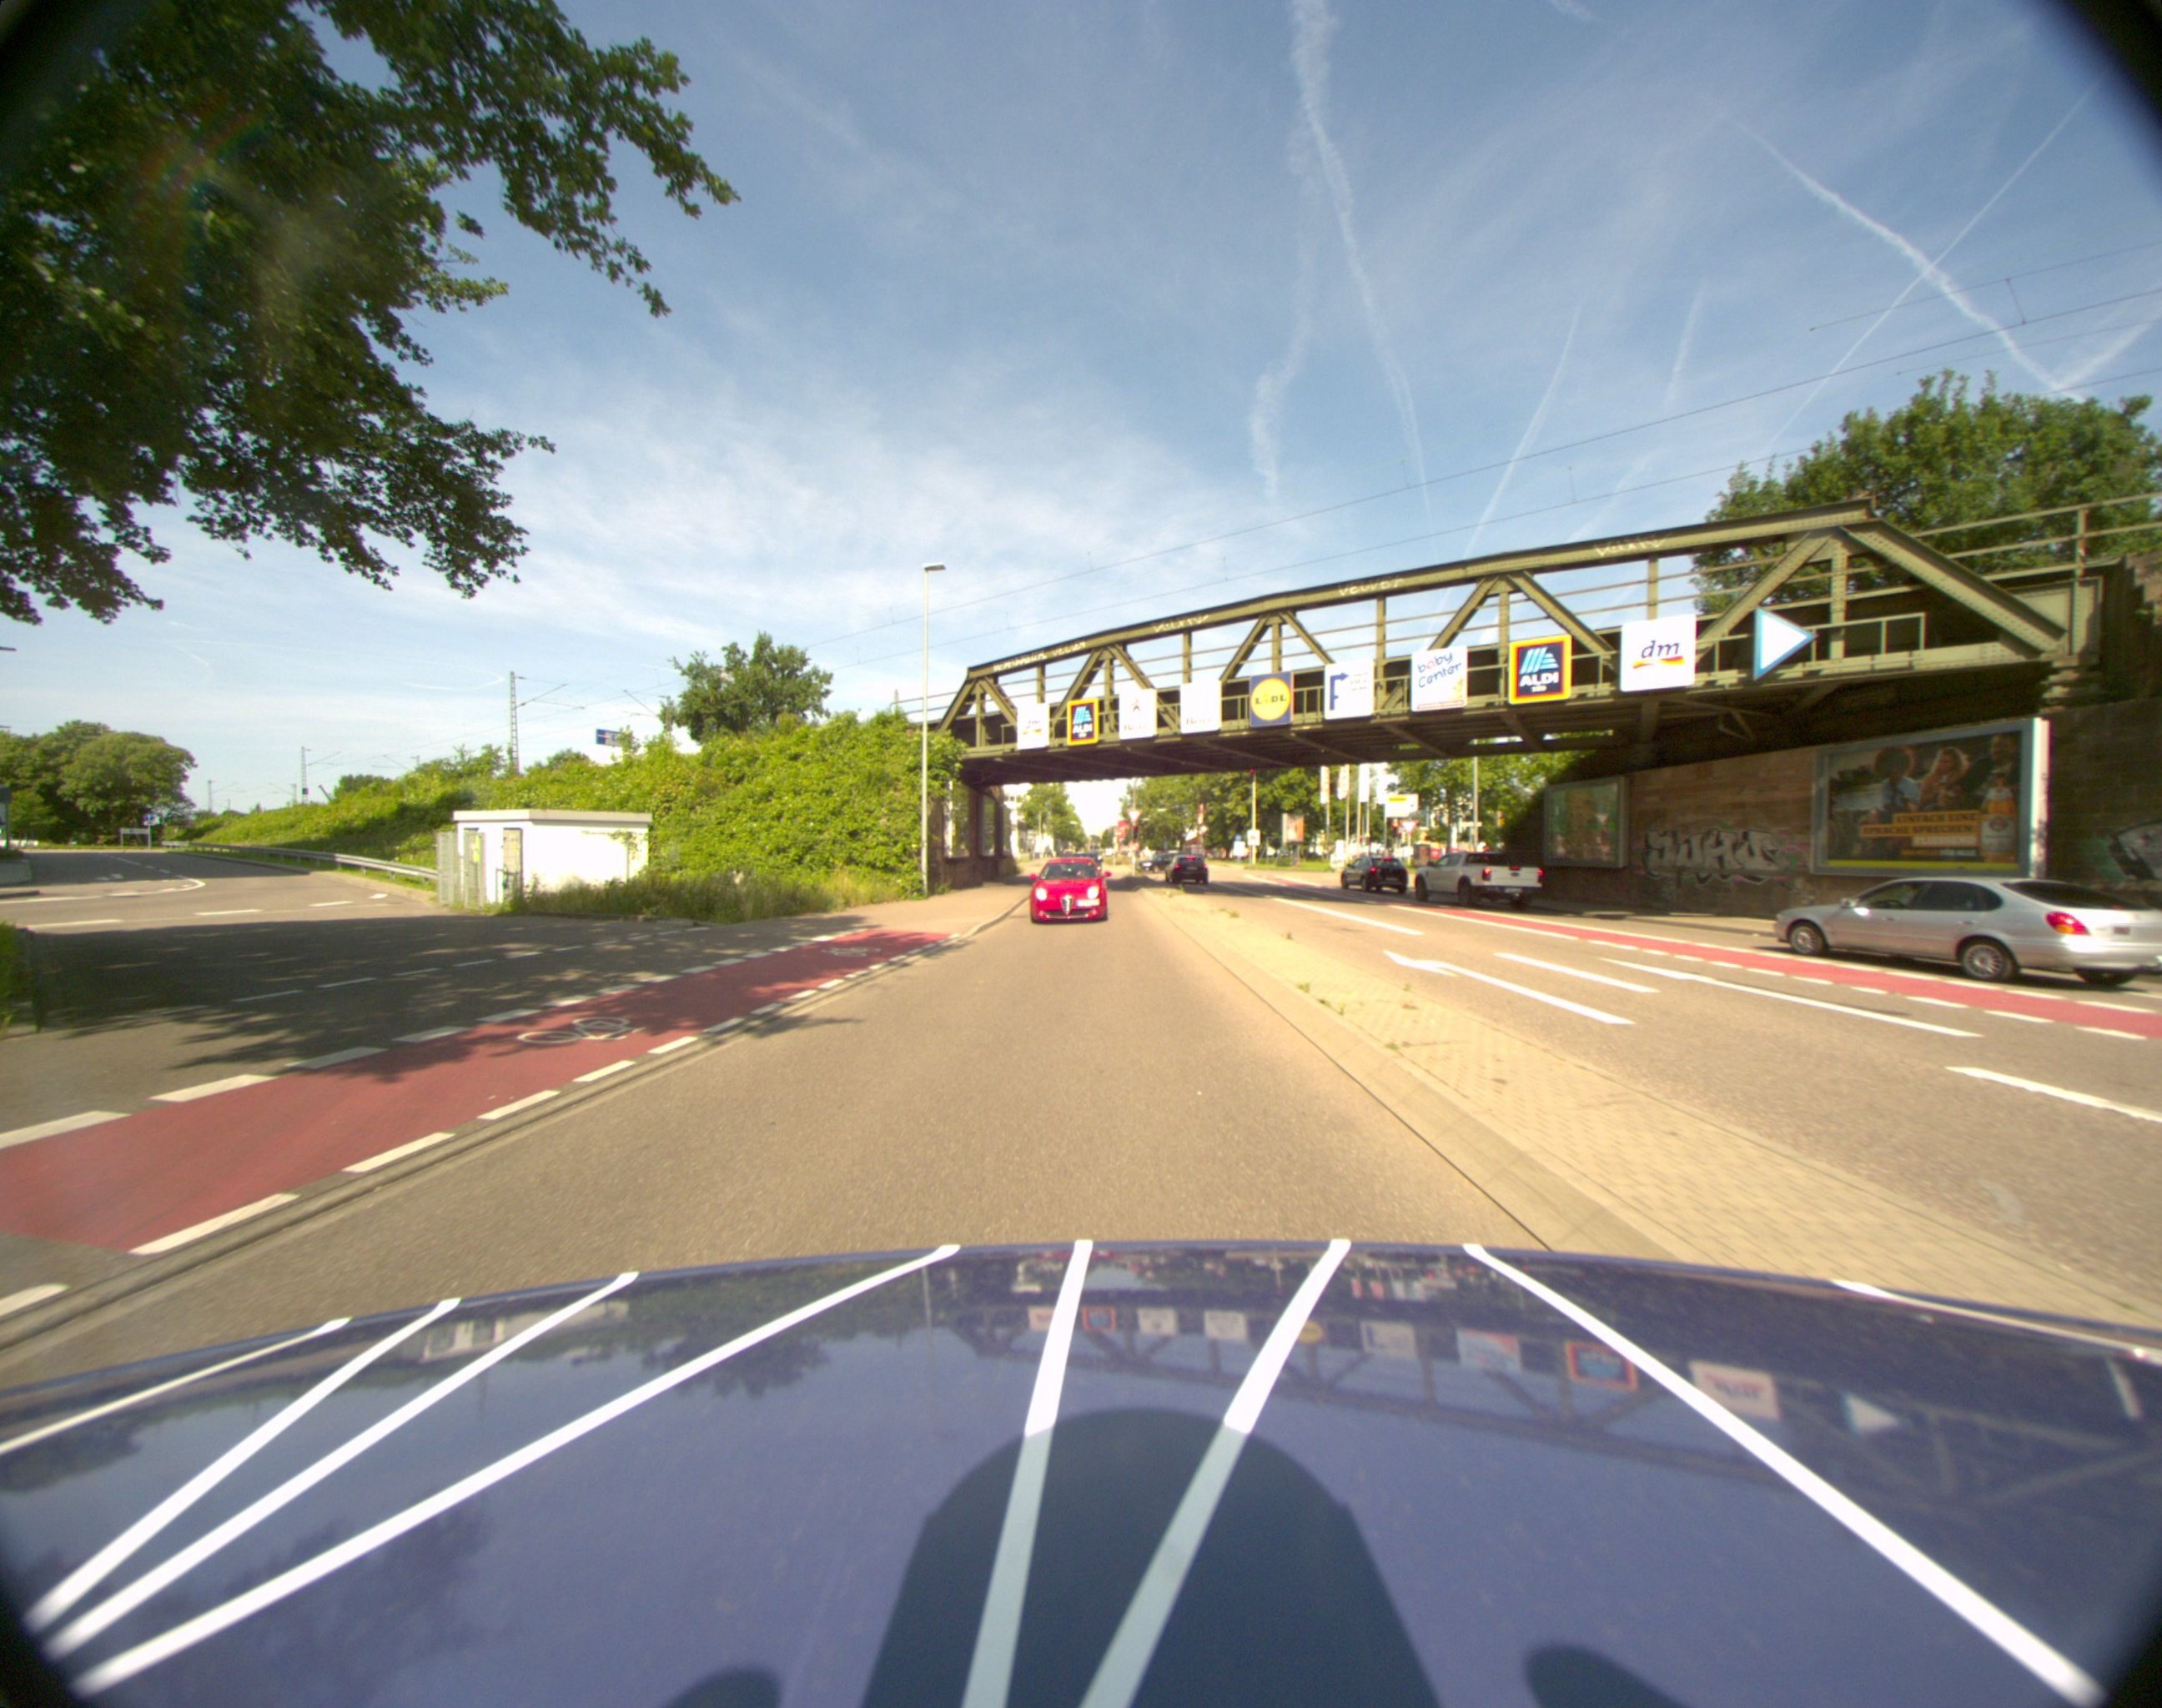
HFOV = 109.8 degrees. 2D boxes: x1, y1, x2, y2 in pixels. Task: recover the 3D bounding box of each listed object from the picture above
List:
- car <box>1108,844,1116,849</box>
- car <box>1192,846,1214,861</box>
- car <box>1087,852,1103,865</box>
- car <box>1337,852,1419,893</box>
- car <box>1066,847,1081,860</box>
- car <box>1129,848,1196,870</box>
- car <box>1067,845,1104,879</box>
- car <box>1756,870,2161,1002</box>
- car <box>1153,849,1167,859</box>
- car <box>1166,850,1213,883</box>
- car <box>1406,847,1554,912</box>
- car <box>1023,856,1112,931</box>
[{"bbox_3d":[8.911,-2.102,218.343,1.927,1.507,3.824,-2,1,-2],"label":"car"},{"bbox_3d":[14.128,-0.061,88.435,1.824,1.712,3.635,-2,1,-2],"label":"car"},{"bbox_3d":[1.709,0.520,93.652,1.824,1.467,4.245,1,1,0],"label":"car"},{"bbox_3d":[12.889,0.758,33.309,1.877,1.587,4.386,0,1,0],"label":"car"},{"bbox_3d":[-0.962,-0.063,98.709,1.824,1.569,4.245,1,1,0],"label":"car"},{"bbox_3d":[6.099,0.363,56.460,4.935,1.564,1.699,0,2,-33],"label":"car"},{"bbox_3d":[0.271,0.370,40.486,1.824,1.632,4.112,-1,1,1],"label":"car"},{"bbox_3d":[12.550,1.011,11.036,1.639,1.380,4.317,1,1,1],"label":"car"},{"bbox_3d":[14.498,-0.088,139.232,1.927,1.712,3.824,-2,1,-2],"label":"car"},{"bbox_3d":[5.331,0.586,37.772,1.785,1.439,4.119,1,1,1],"label":"car"},{"bbox_3d":[13.008,0.733,25.280,1.998,1.850,5.449,2,1,0],"label":"car"},{"bbox_3d":[-0.208,0.844,18.057,1.797,1.446,3.979,-1,2,3],"label":"car"}]
